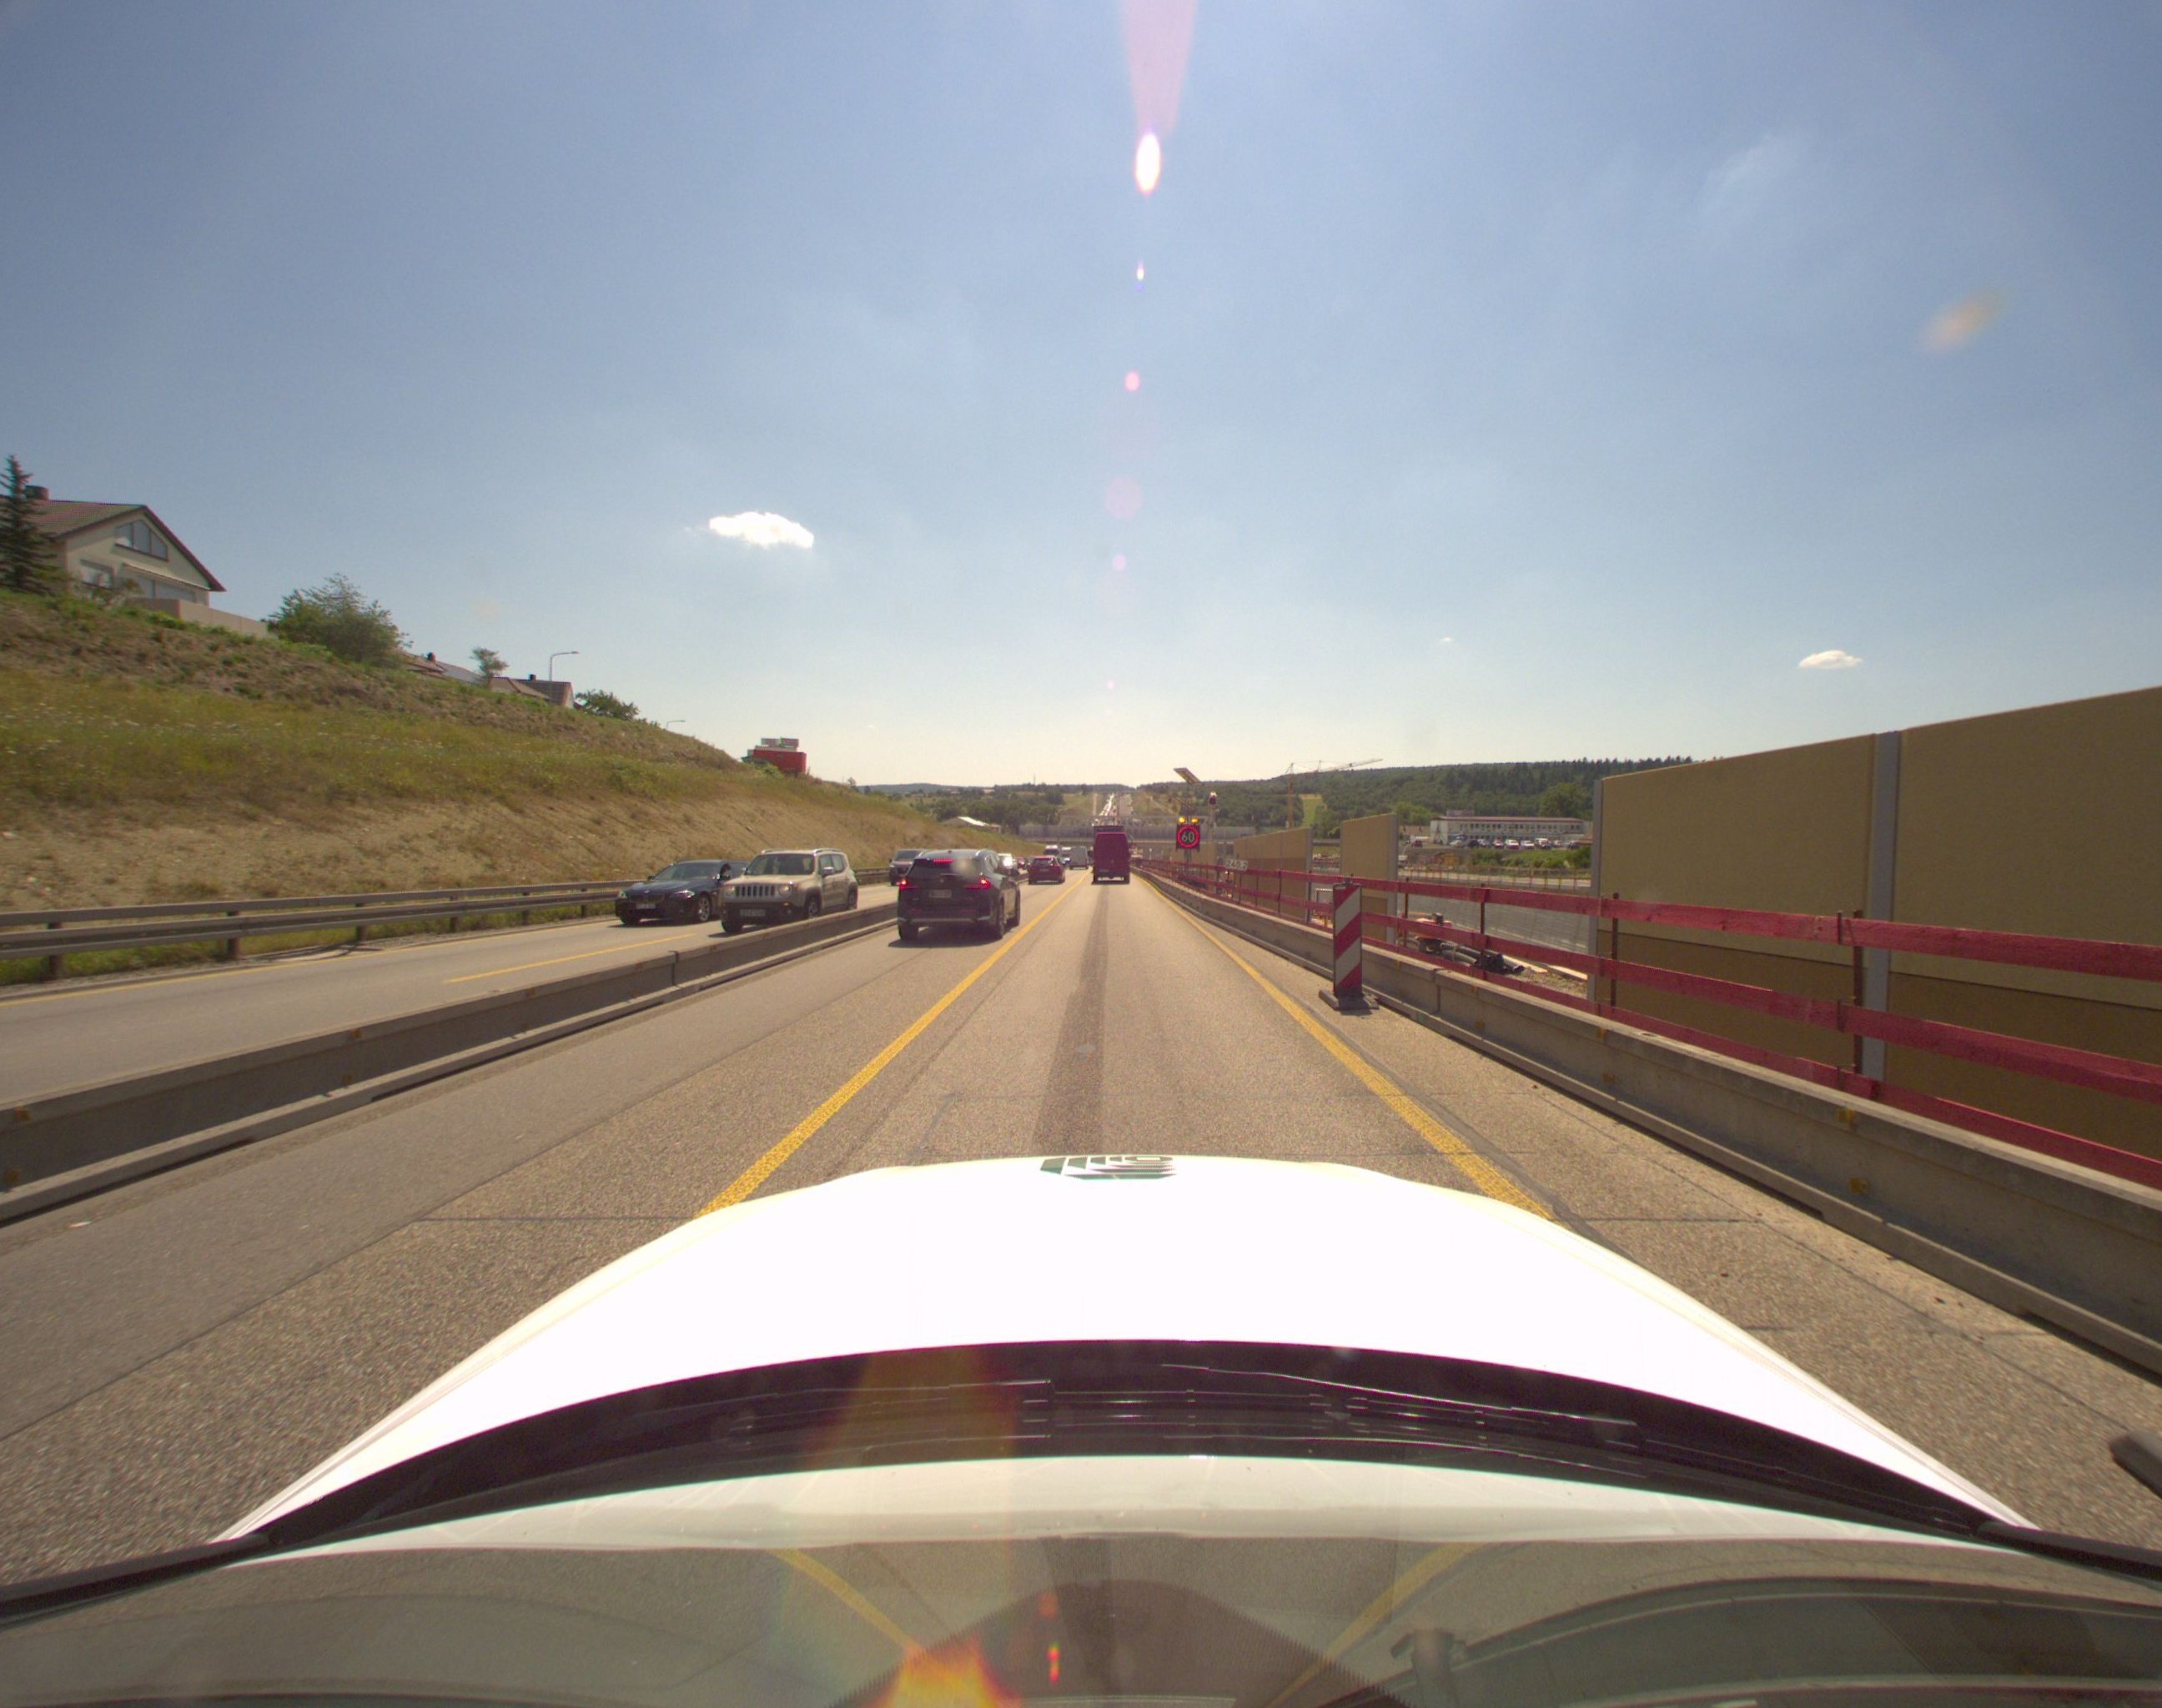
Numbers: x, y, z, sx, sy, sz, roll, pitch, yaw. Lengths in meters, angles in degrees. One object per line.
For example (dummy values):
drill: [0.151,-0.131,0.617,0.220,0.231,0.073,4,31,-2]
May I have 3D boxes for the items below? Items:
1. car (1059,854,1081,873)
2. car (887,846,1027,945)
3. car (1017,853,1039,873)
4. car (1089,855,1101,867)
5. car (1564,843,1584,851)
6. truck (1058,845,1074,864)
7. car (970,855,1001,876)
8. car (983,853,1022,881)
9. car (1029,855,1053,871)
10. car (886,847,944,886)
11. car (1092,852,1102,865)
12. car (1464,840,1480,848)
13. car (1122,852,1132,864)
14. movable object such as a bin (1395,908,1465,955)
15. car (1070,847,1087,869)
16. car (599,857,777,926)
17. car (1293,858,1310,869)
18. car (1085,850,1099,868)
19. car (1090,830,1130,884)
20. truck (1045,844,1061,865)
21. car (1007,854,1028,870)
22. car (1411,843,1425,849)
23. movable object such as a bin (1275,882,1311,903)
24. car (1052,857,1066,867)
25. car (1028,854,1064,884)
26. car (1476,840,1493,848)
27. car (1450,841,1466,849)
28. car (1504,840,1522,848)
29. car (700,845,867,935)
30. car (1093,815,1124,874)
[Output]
car: [-0.948,0.827,72.646,1.833,1.654,4.166,-1,0,1]
car: [-2.226,0.705,15.874,1.873,1.618,4.501,-1,0,2]
car: [-5.173,0.862,79.771,1.769,1.791,4.207,-1,0,2]
car: [2.156,1.074,125.230,1.769,1.670,4.030,-1,0,2]
car: [97.000,-1.454,160.308,1.673,1.517,4.079,0,0,4]
truck: [-2.597,0.139,145.451,2.529,3.374,7.040,0,0,1]
car: [-7.624,0.907,65.438,1.678,1.585,5.128,0,0,2]
car: [-5.003,0.781,52.614,1.833,1.654,5.372,-1,0,1]
car: [-3.914,0.879,80.082,1.948,1.499,5.092,0,0,2]
car: [-9.036,0.641,44.735,2.031,1.926,5.122,-2,0,1]
car: [2.888,0.824,146.785,1.769,2.330,4.207,-1,0,2]
car: [79.567,-1.982,165.783,1.673,1.517,4.079,0,0,4]
car: [9.300,0.869,163.942,1.769,2.330,4.207,-1,0,2]
movable object such as a bin: [22.027,4.866,51.664,2.599,2.489,4.455,1,0,1]
car: [-0.256,0.428,90.903,1.769,2.441,4.207,-1,0,2]
car: [-9.454,0.836,20.129,1.986,1.507,4.720,0,0,1]
car: [40.169,1.697,148.687,1.800,2.014,4.824,0,0,0]
car: [1.527,0.689,110.540,1.769,2.330,4.207,-1,0,2]
car: [1.553,0.157,43.906,1.981,2.690,4.625,-1,0,2]
truck: [-5.330,0.124,155.483,2.688,4.050,3.956,0,0,1]
car: [-7.226,0.921,93.671,1.823,1.791,5.027,-1,0,2]
car: [69.368,-1.655,167.656,1.508,1.316,3.433,0,0,4]
movable object such as a bin: [29.050,5.263,111.741,3.150,2.446,7.899,2,-1,2]
car: [-3.212,1.196,119.922,1.790,1.427,4.951,-1,0,1]
car: [-1.827,0.778,43.435,1.770,1.517,4.204,-1,0,-1]
car: [82.109,-2.014,165.618,1.673,1.517,4.079,0,0,4]
car: [76.981,-1.843,166.207,1.673,1.517,4.079,0,0,4]
car: [87.193,-1.982,164.381,1.706,1.517,4.079,0,0,4]
car: [-6.162,0.695,17.479,1.826,1.666,4.415,-1,0,1]
car: [2.547,-0.810,75.747,2.611,5.032,10.400,-1,0,2]
